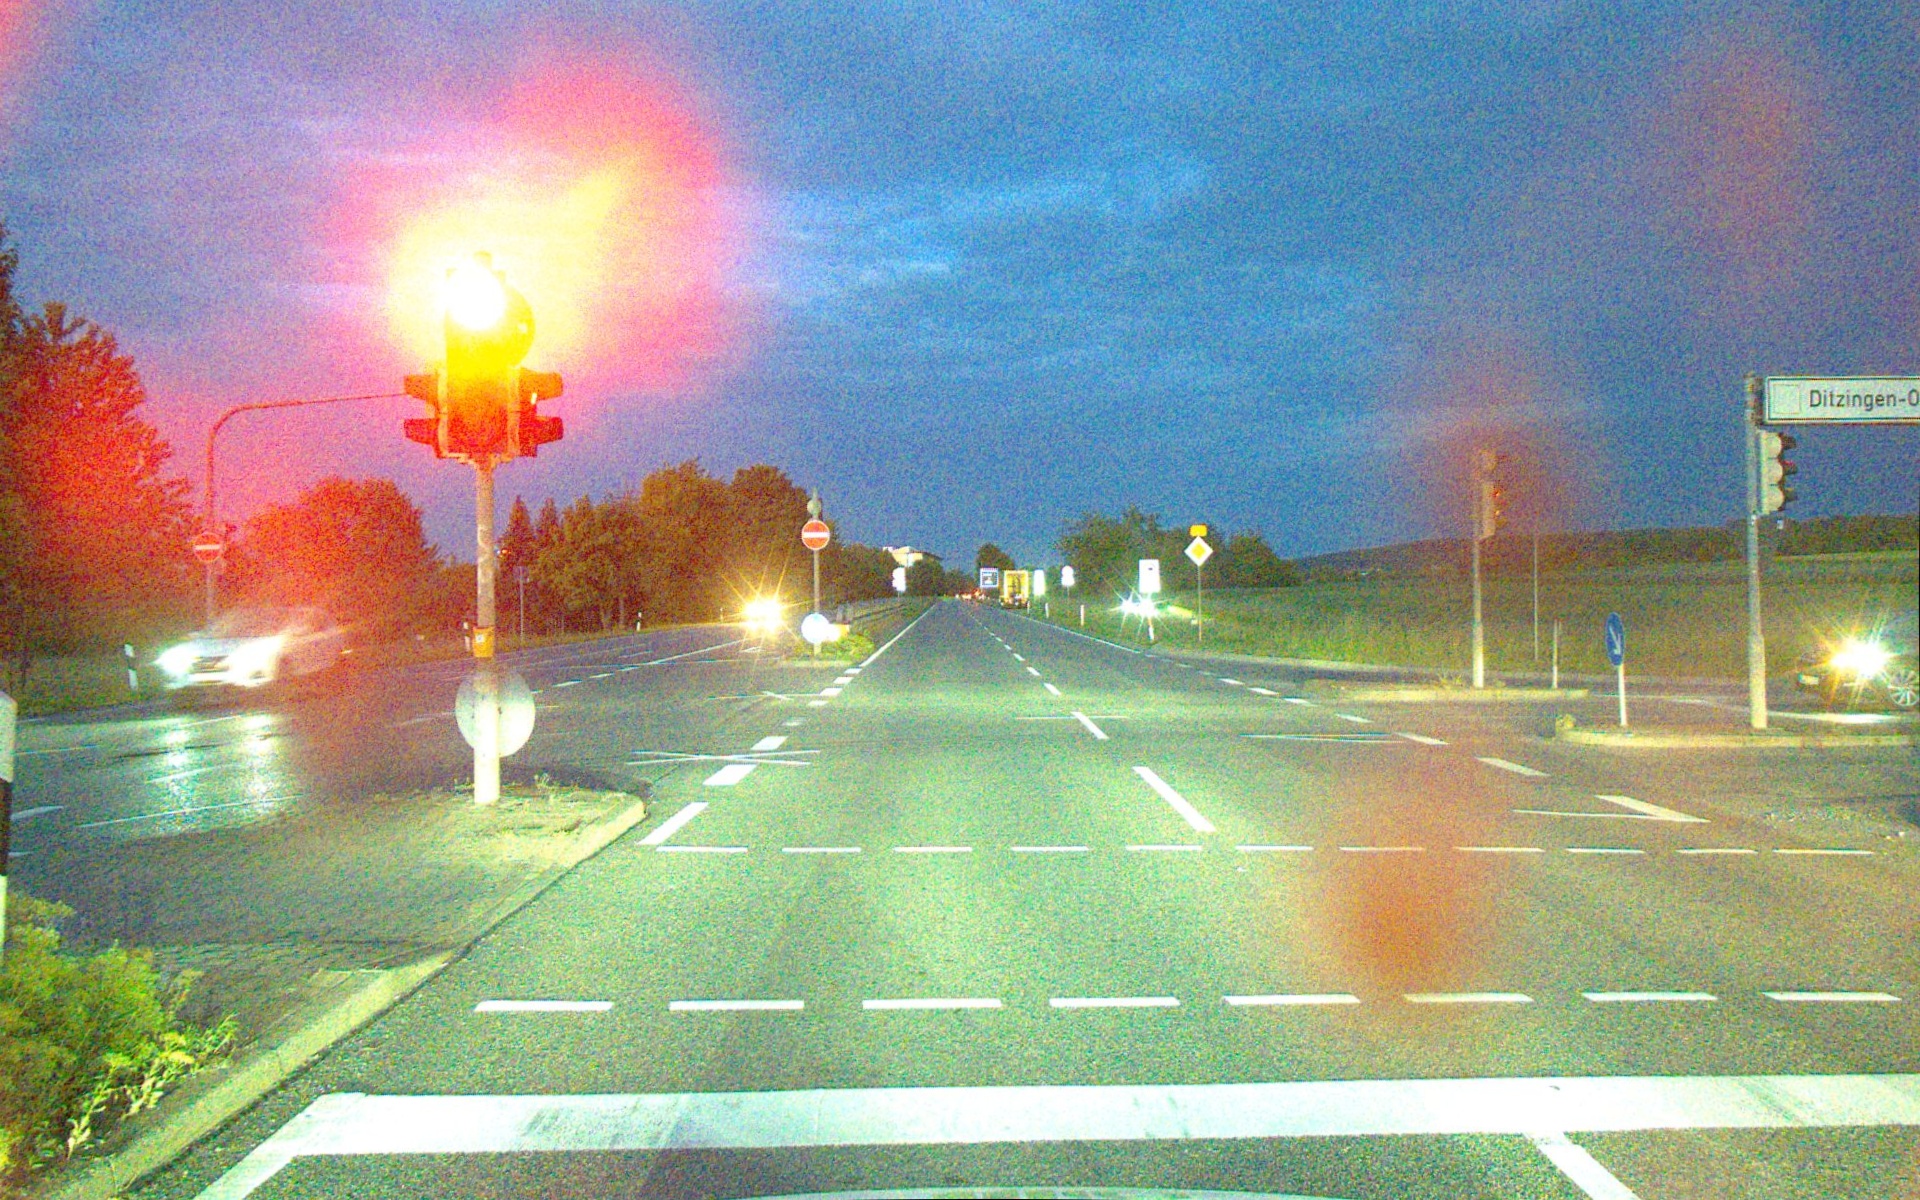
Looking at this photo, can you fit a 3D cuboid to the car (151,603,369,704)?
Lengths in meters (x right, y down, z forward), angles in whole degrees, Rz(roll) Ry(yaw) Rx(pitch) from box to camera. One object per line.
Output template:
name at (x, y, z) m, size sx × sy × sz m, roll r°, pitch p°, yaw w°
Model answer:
car at (-11.911, 0.853, 28.489) m, size 1.953 × 1.545 × 4.297 m, roll -1°, pitch 0°, yaw -1°

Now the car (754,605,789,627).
car at (-12.798, 1.044, 112.220) m, size 1.953 × 1.411 × 3.999 m, roll -1°, pitch 0°, yaw -1°

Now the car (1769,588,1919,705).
car at (14.263, 0.596, 23.547) m, size 4.507 × 1.547 × 2.000 m, roll -1°, pitch 0°, yaw 0°
